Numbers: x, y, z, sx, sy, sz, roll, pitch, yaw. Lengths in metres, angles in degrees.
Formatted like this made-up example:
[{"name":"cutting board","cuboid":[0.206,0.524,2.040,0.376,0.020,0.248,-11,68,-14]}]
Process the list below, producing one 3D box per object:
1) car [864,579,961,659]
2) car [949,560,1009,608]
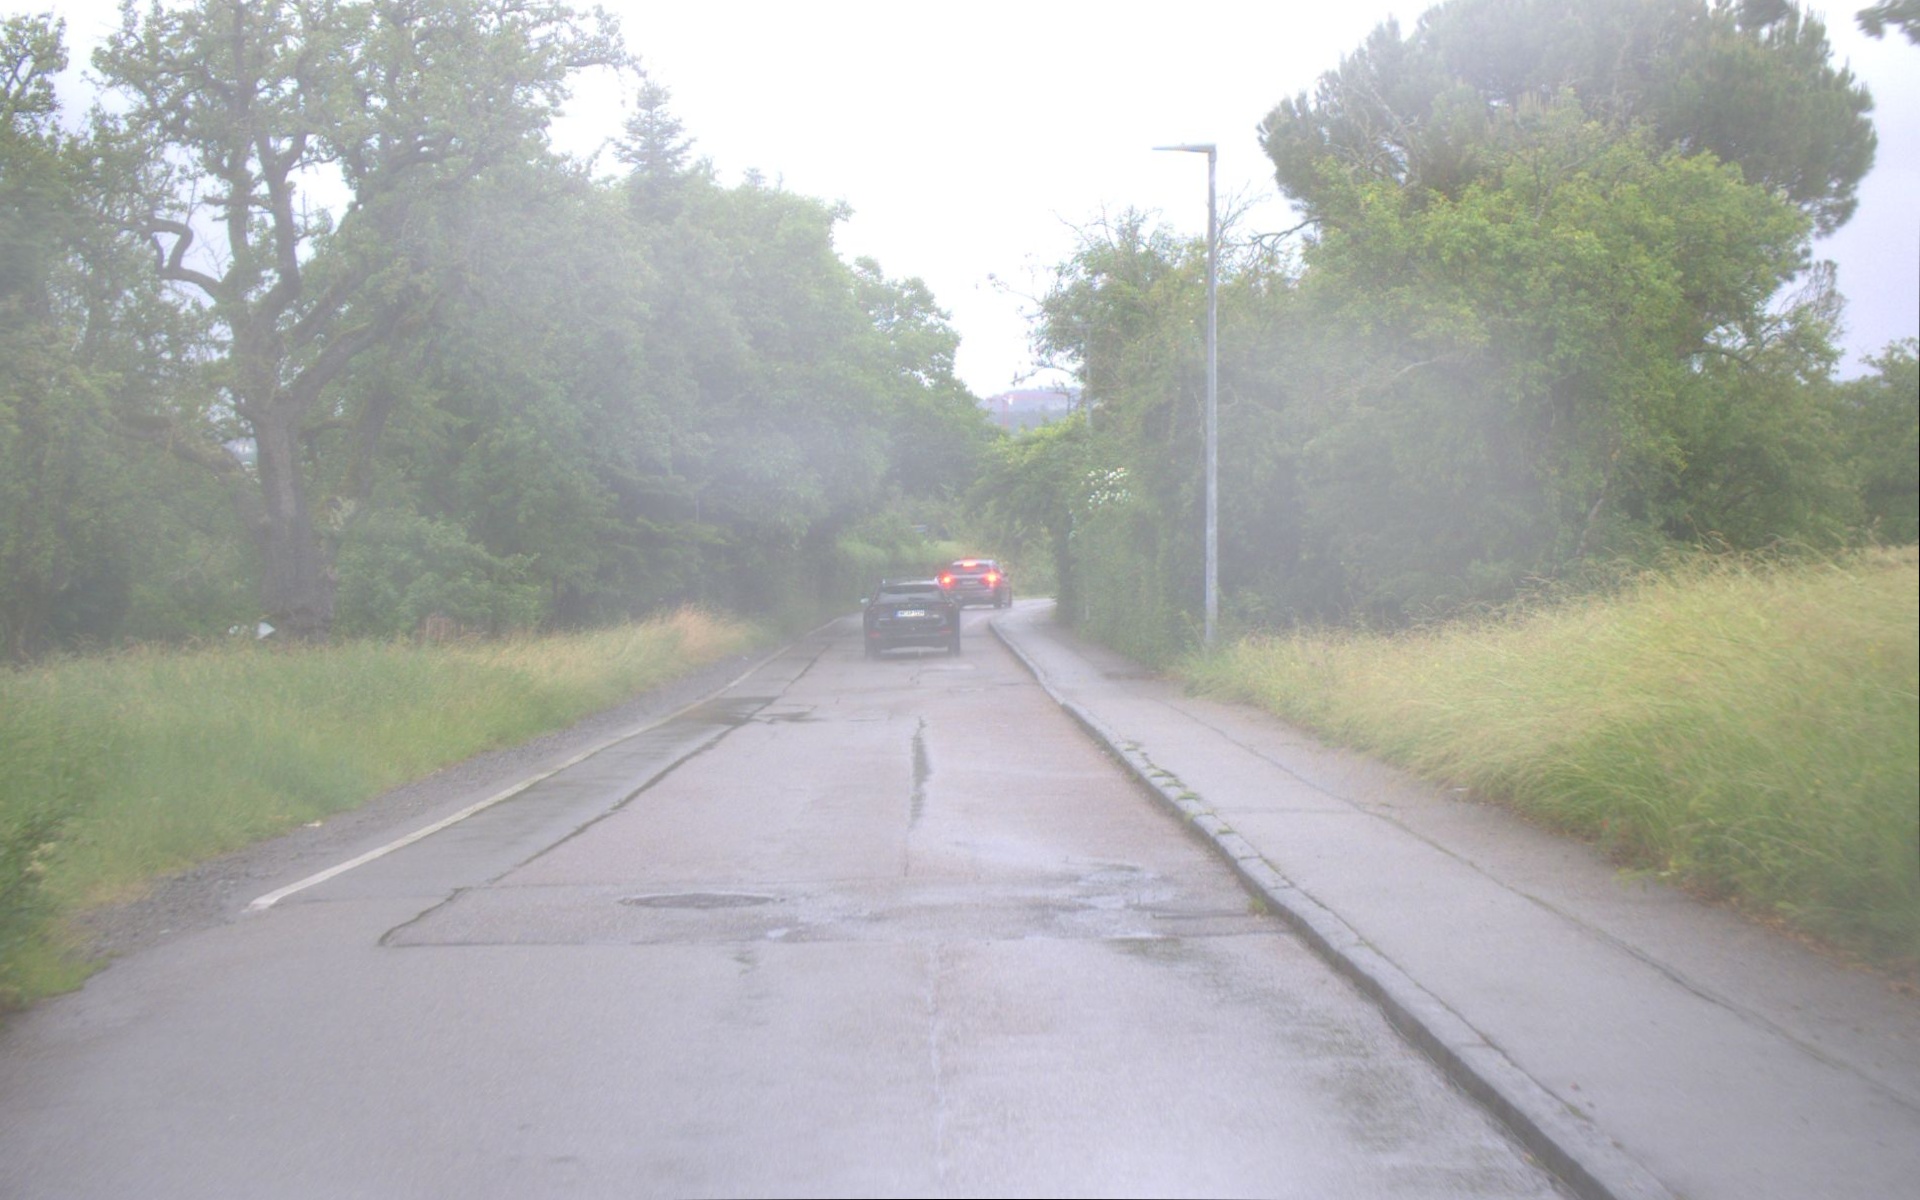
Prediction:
[{"name":"car","cuboid":[-0.862,0.366,64.018,1.635,1.445,3.544,-1,-1,2]},{"name":"car","cuboid":[0.594,-0.475,106.923,1.635,1.409,3.544,-1,-1,4]}]
